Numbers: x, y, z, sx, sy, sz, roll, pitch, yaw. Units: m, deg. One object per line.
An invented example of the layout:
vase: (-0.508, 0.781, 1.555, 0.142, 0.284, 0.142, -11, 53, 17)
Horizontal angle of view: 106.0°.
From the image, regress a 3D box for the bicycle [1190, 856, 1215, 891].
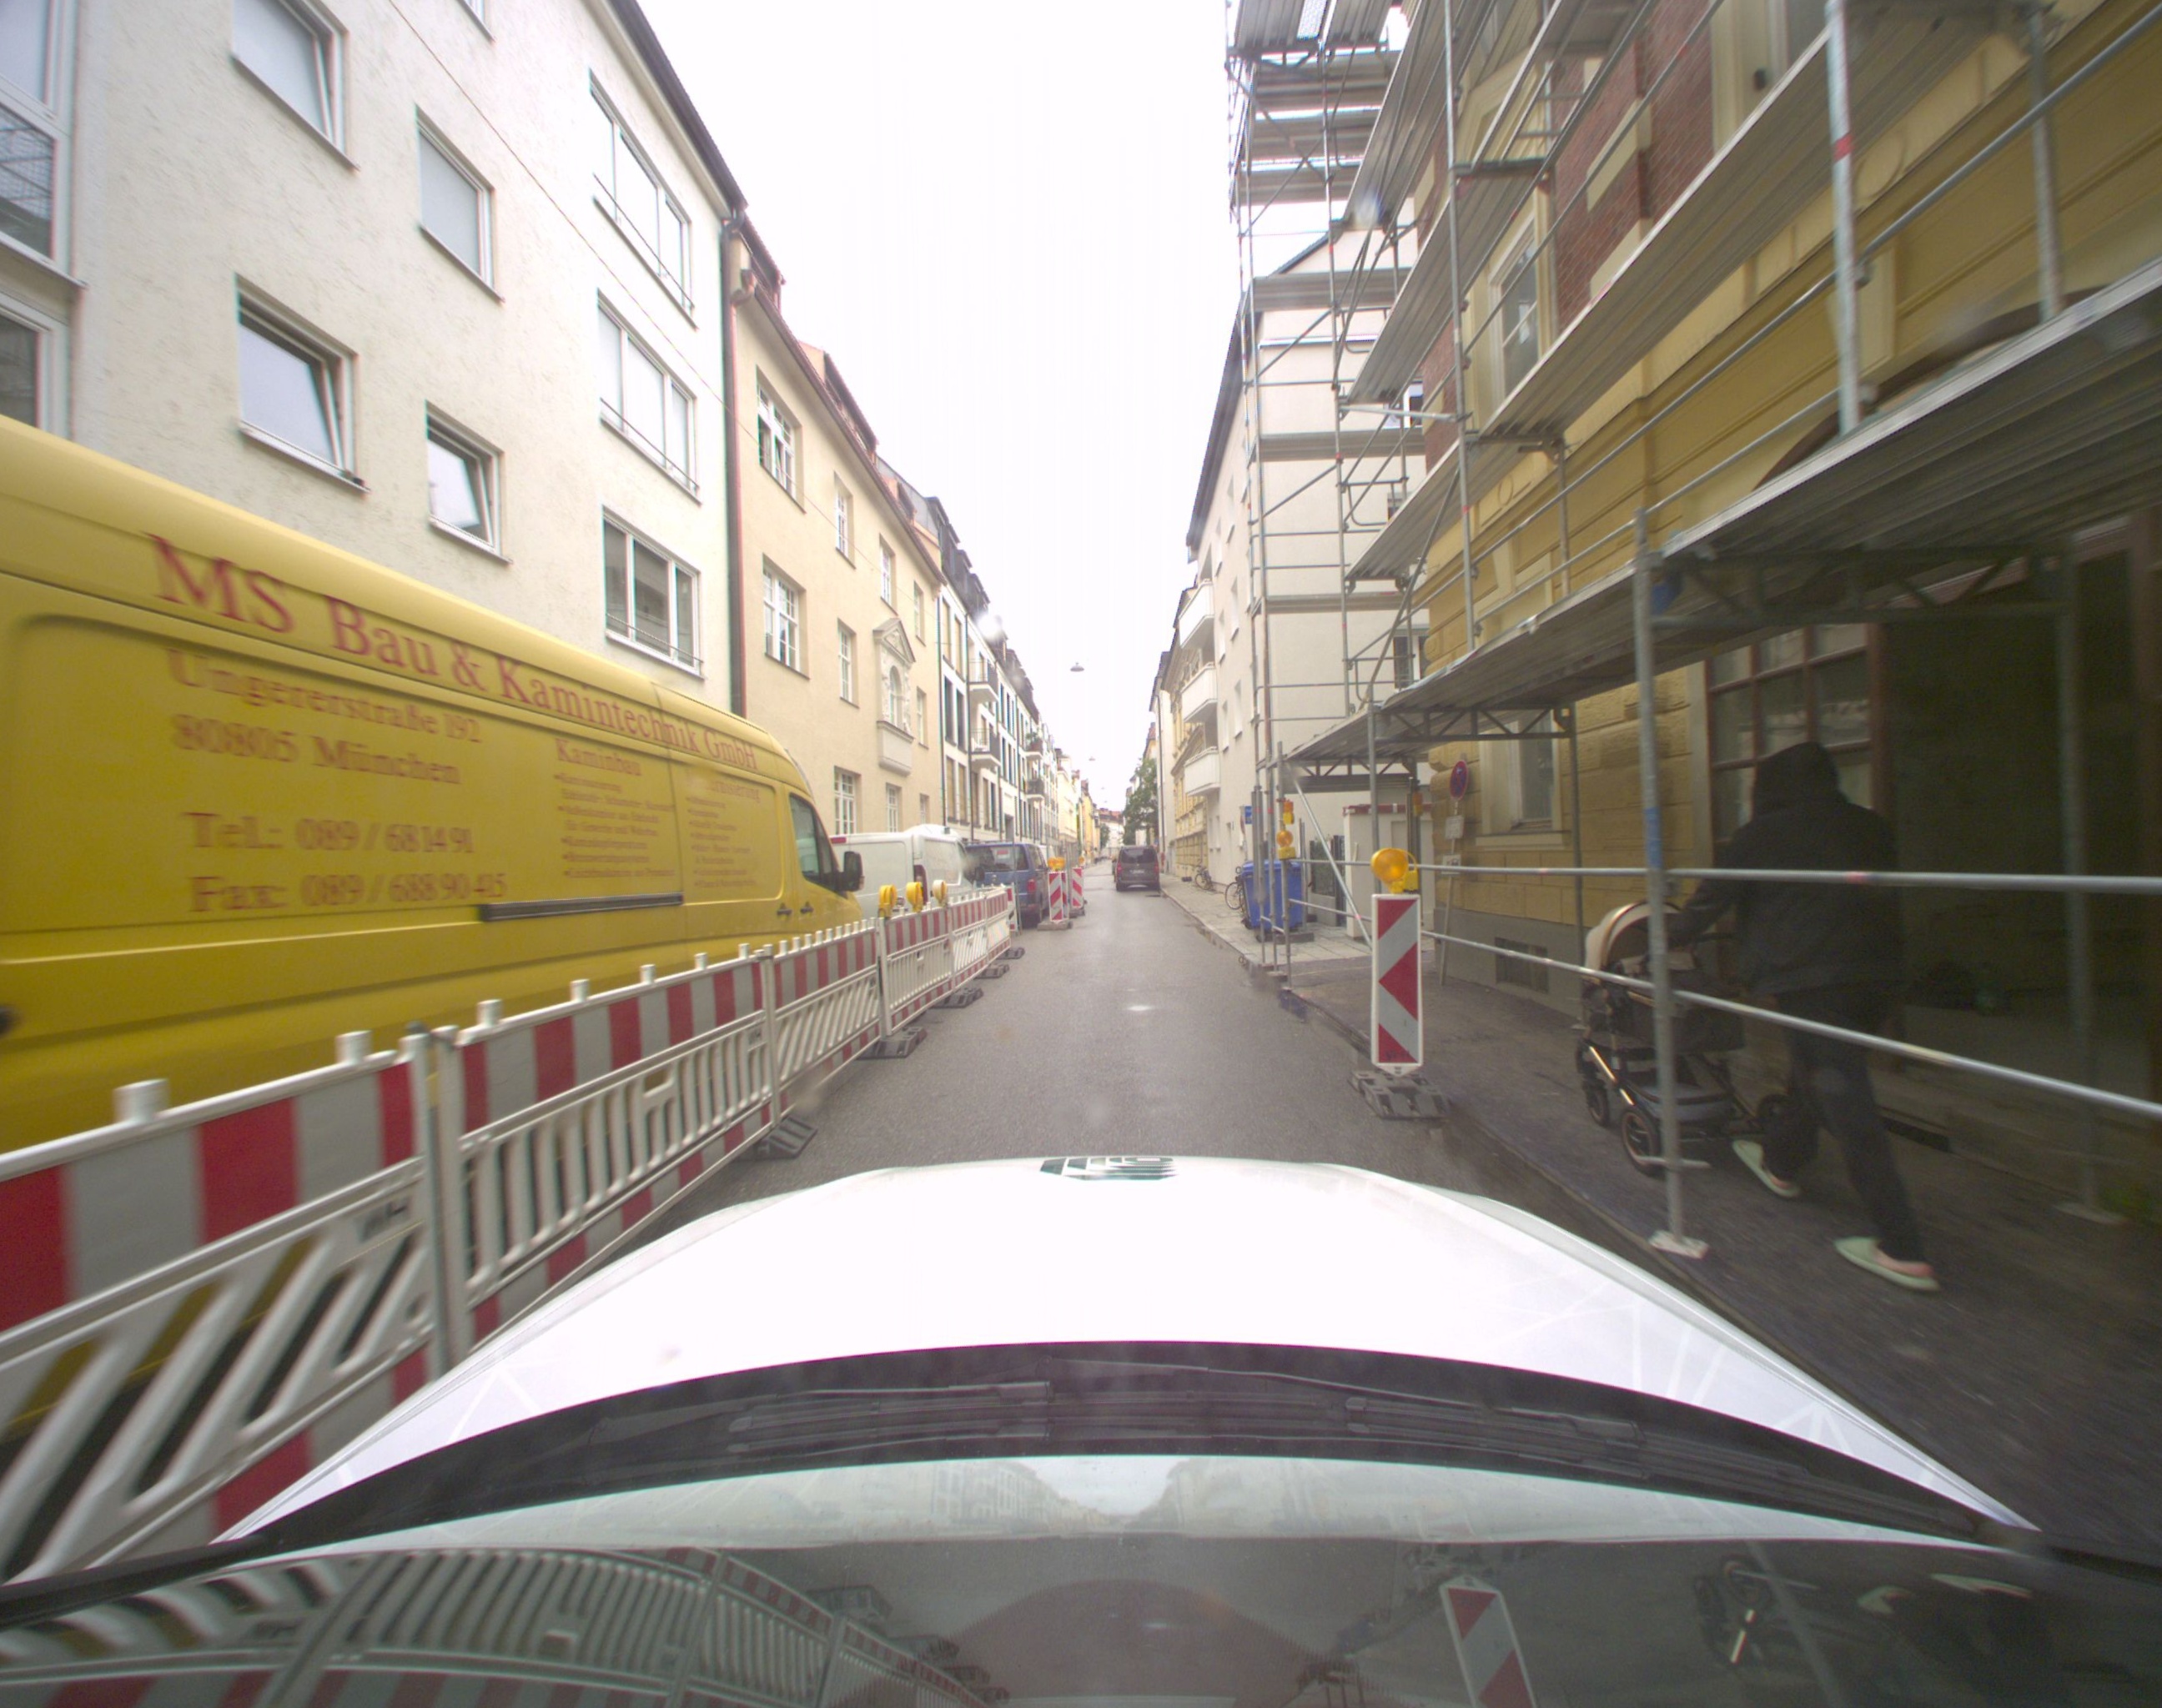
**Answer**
bicycle: (4.414, 0.700, 29.596, 0.635, 1.153, 1.917, -5, 0, 3)

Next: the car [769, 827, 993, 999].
car: (-2.622, 0.709, 11.998, 1.910, 1.897, 4.791, -4, 0, 1)

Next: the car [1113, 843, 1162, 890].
car: (2.452, 0.538, 36.558, 1.986, 1.932, 4.661, -1, 0, 2)

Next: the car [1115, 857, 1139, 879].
car: (3.630, 1.106, 64.284, 1.744, 1.636, 3.447, -1, 0, 3)

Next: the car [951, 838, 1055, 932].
car: (-1.757, 0.682, 20.161, 1.720, 1.897, 5.511, -4, 0, 2)

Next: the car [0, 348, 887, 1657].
car: (-3.039, 0.314, 4.532, 1.986, 2.578, 6.739, -3, 0, 2)

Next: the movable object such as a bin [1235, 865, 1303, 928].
movable object such as a bin: (3.735, 0.832, 16.276, 1.203, 1.095, 0.792, -6, -1, 10)

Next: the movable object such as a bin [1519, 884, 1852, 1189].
movable object such as a bin: (2.739, 0.765, 3.830, 0.727, 1.141, 0.988, -6, 0, 1)

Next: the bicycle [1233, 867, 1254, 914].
bicycle: (3.852, 0.845, 19.261, 0.278, 0.991, 1.439, -6, -1, 15)

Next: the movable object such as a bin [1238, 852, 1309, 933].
movable object such as a bin: (3.592, 0.697, 15.330, 1.119, 1.345, 1.174, -6, -1, 10)

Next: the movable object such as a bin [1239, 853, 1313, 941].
movable object such as a bin: (3.381, 0.717, 14.097, 1.078, 1.346, 1.323, -5, 0, 14)

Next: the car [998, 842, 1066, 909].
car: (-1.493, 0.658, 26.398, 1.899, 1.897, 5.086, -2, 0, -1)

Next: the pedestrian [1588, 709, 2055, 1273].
pedestrian: (2.692, 0.441, 3.119, 0.727, 1.752, 0.988, -6, -1, 1)

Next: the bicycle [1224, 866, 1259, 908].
bicycle: (4.044, 0.826, 20.597, 0.403, 0.991, 1.326, -5, -1, -6)
